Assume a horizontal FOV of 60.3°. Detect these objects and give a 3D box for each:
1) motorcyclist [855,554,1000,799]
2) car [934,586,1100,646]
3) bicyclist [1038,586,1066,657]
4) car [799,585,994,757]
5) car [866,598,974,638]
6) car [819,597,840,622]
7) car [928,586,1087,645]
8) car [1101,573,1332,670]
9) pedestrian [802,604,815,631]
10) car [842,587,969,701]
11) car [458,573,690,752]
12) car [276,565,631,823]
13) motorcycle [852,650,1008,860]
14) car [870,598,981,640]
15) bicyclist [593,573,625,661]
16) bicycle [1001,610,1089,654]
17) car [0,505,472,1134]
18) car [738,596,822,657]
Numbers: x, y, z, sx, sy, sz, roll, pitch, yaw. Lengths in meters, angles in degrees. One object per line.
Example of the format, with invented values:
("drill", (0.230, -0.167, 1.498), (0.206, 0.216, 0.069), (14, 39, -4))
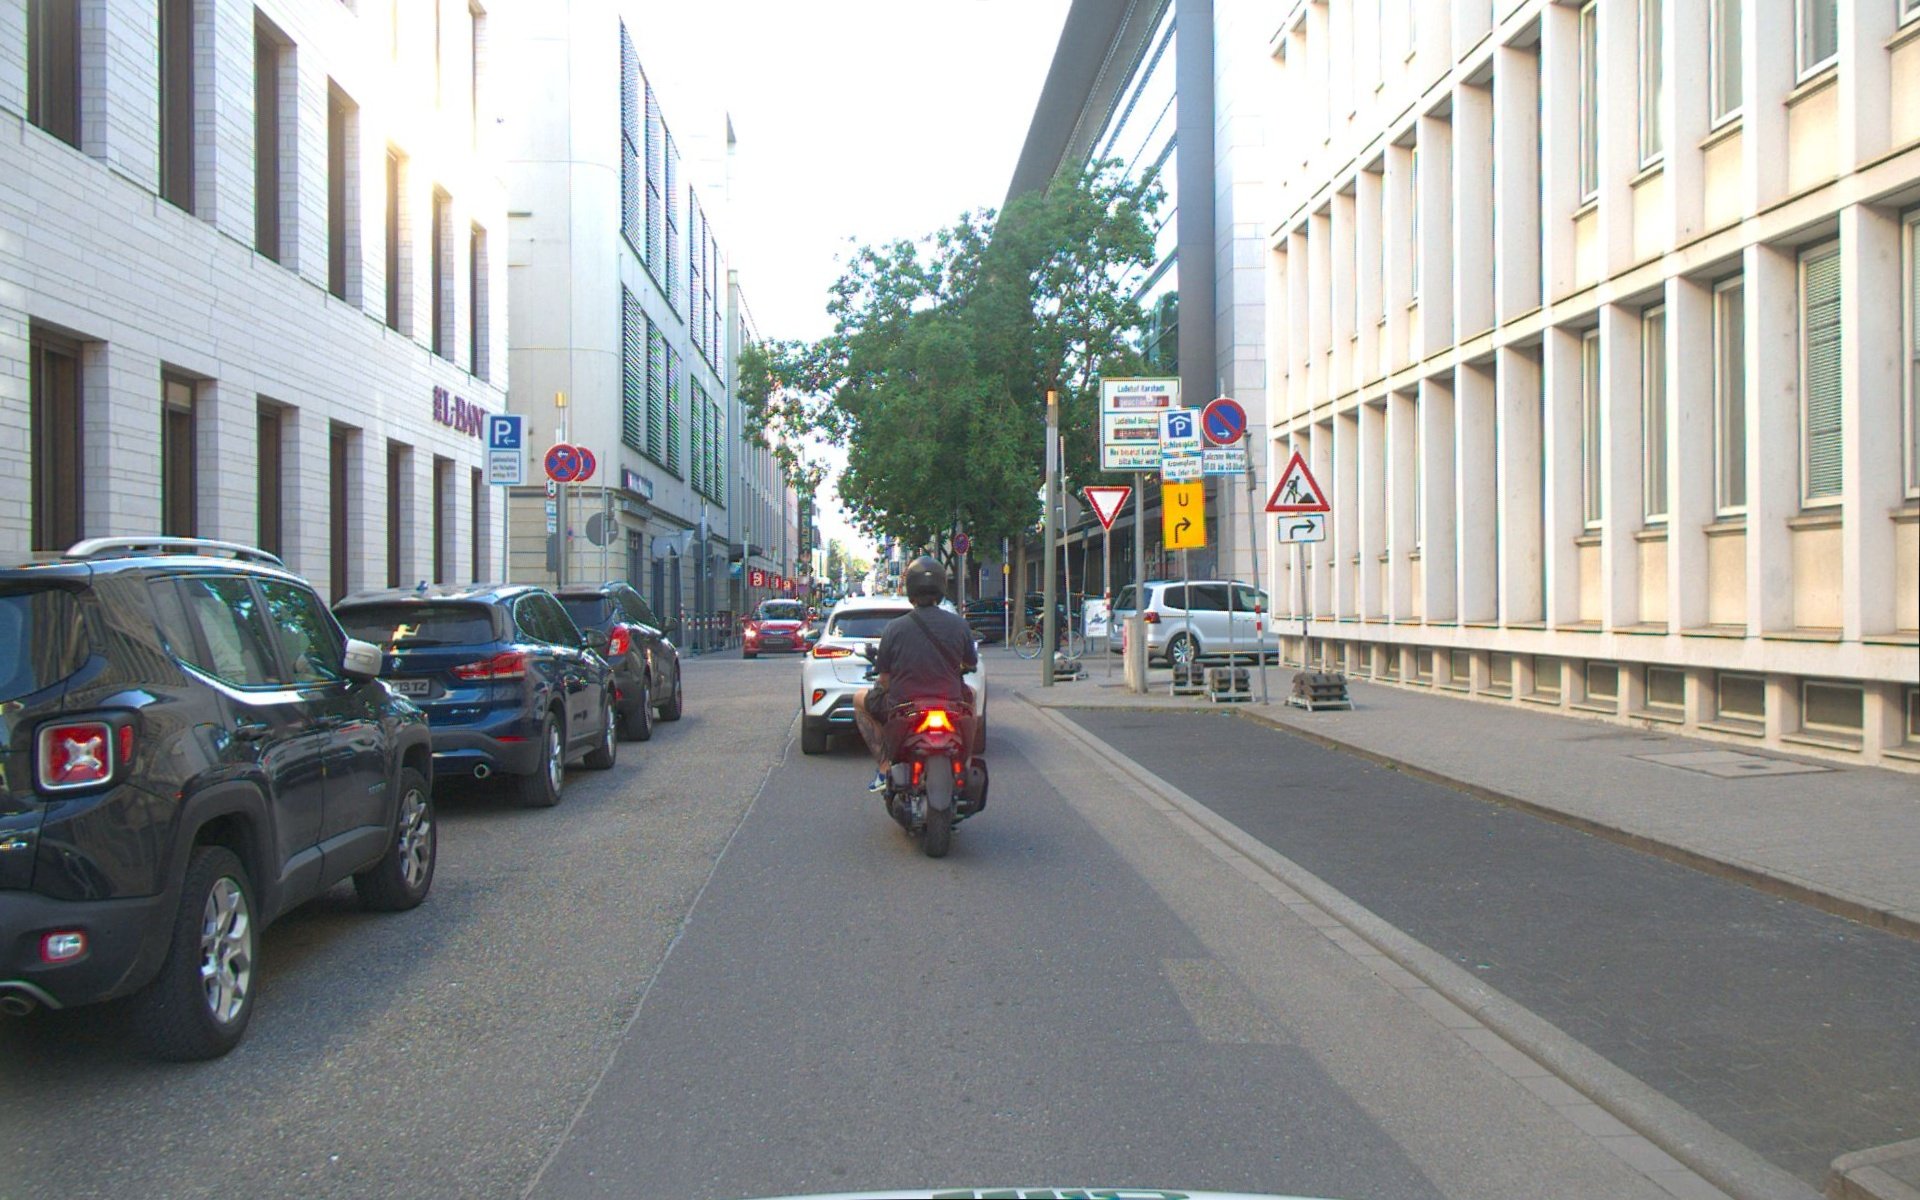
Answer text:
("motorcyclist", (-0.200, 0.457, 10.071), (0.849, 1.452, 0.455), (0, -1, -3))
("car", (1.733, 0.504, 51.640), (4.908, 1.477, 1.998), (-4, -1, -6))
("bicyclist", (2.180, 0.514, 39.110), (0.616, 1.654, 0.498), (0, -1, 5))
("car", (-0.722, 0.634, 17.345), (1.786, 1.568, 4.260), (0, 0, -4))
("car", (-1.911, 0.846, 78.224), (4.908, 1.525, 1.998), (-4, -1, -6))
("car", (-12.878, 0.948, 163.387), (1.955, 2.370, 5.015), (1, 0, -5))
("car", (1.512, 0.507, 53.940), (4.908, 1.525, 1.998), (-4, -1, -6))
("car", (5.240, 0.388, 33.761), (4.420, 1.673, 1.816), (-2, 4, -24))
("pedestrian", (-8.993, 1.036, 98.183), (0.717, 1.601, 0.635), (0, -1, -3))
("car", (-0.934, 0.623, 26.185), (1.786, 1.568, 4.361), (-2, 1, -4))
("car", (-4.205, 0.606, 18.692), (1.786, 1.707, 4.261), (-2, 1, -3))
("car", (-3.755, 0.602, 13.017), (1.705, 1.622, 4.150), (-2, 1, -4))
("motorcycle", (-0.196, 0.882, 10.059), (0.855, 1.129, 1.839), (0, -1, -2))
("car", (-1.614, 0.865, 75.789), (4.908, 1.525, 1.998), (-4, -1, -6))
("bicyclist", (-7.027, 0.342, 33.089), (0.542, 1.762, 0.498), (1, -1, -21))
("bicycle", (2.010, 0.758, 39.122), (2.057, 1.012, 0.519), (0, -1, 6))
("car", (-3.344, 0.628, 6.586), (1.786, 1.744, 4.014), (-2, 1, -4))
("car", (-4.609, 0.713, 42.922), (1.785, 1.491, 4.262), (0, -2, -1))
